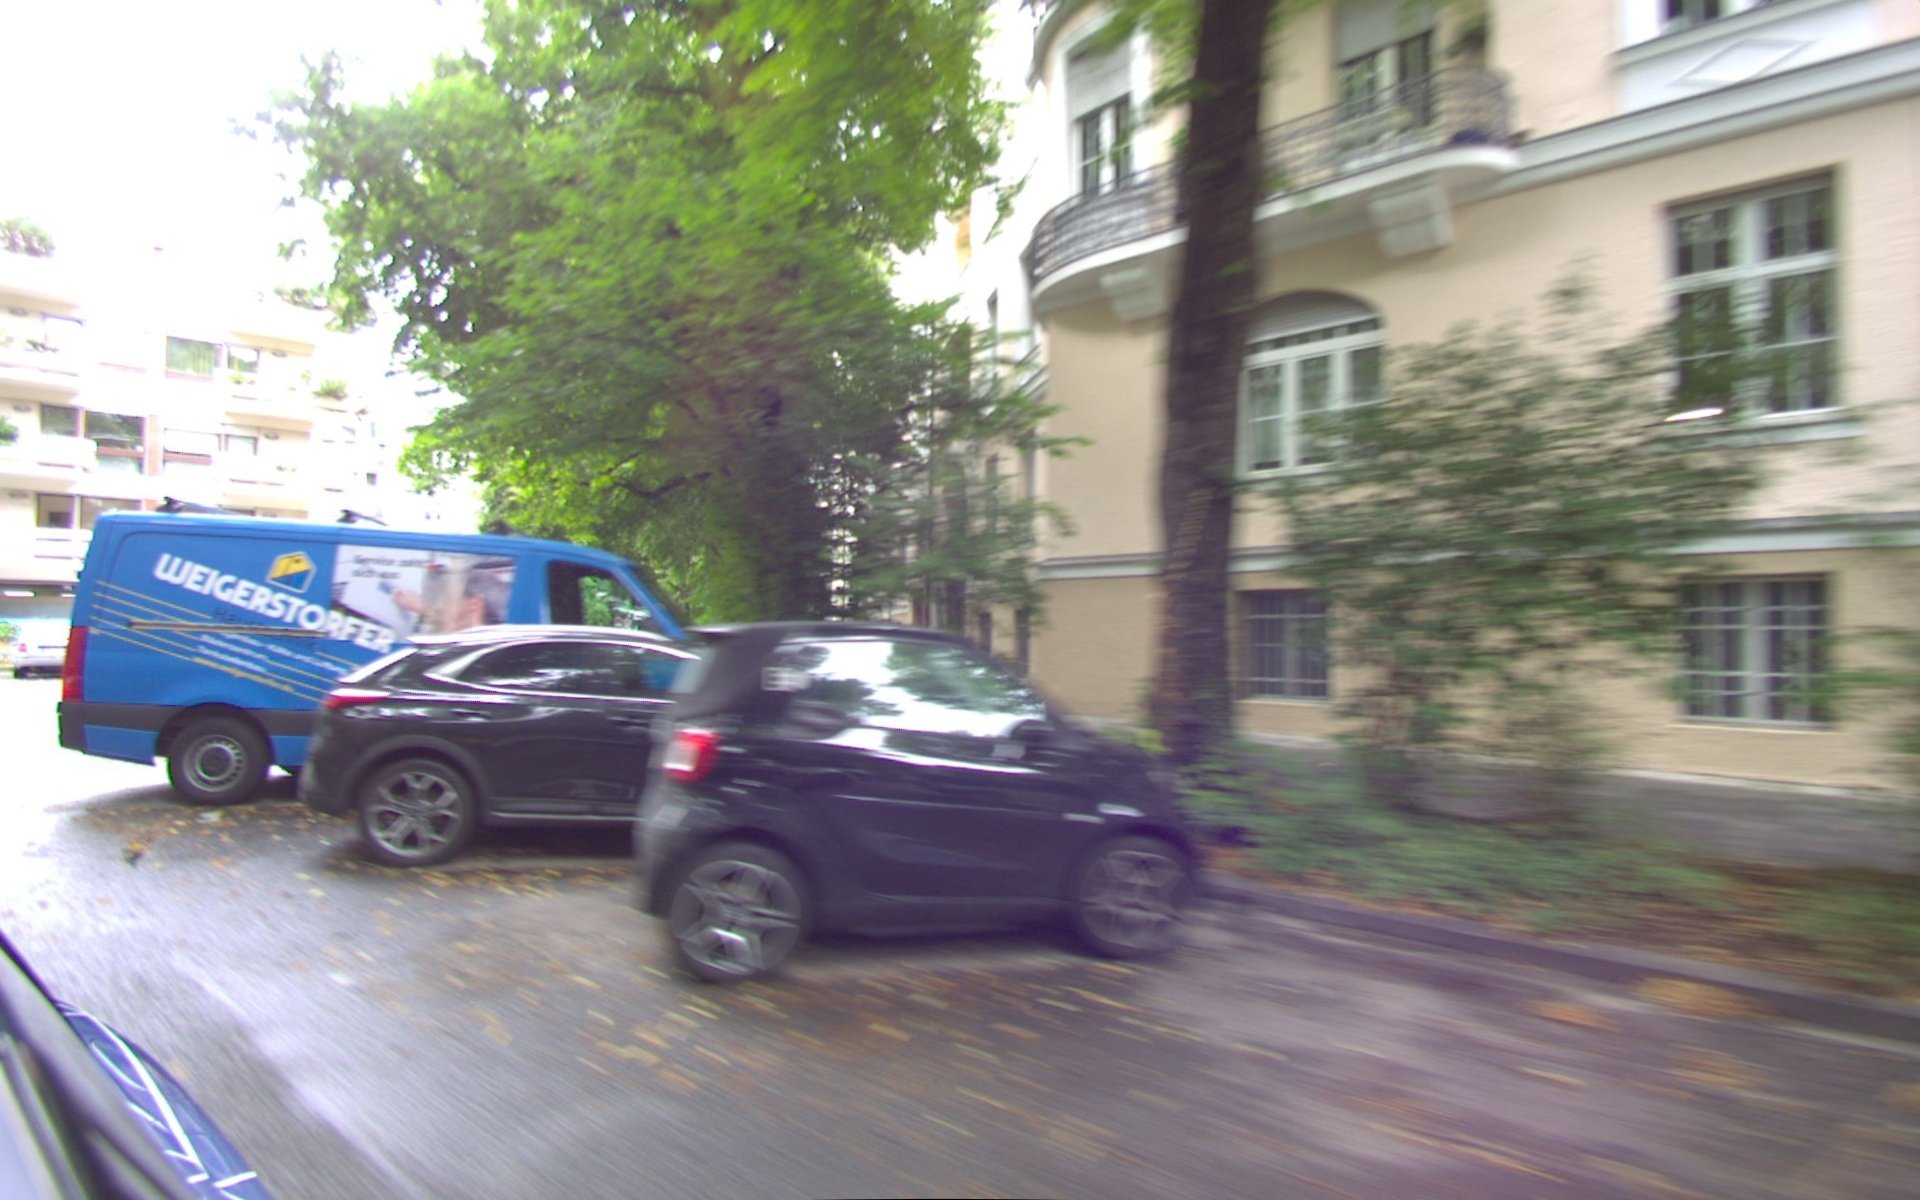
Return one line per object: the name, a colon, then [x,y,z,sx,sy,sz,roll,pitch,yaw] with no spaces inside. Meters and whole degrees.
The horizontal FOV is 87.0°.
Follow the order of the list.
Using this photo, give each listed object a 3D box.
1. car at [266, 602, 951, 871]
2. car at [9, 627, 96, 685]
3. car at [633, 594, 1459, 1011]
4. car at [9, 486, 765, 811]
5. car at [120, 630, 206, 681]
car: [-2.175,0.884,7.046,3.936,1.548,1.819,2,-2,-9]
car: [-25.517,1.599,28.463,1.695,1.466,4.246,2,-5,-42]
car: [0.342,0.864,5.263,3.801,1.572,1.821,2,-2,-17]
car: [-4.596,0.498,9.133,5.405,2.372,2.071,3,-2,-12]
car: [-23.663,1.663,30.005,1.691,1.378,4.076,2,-5,-42]
